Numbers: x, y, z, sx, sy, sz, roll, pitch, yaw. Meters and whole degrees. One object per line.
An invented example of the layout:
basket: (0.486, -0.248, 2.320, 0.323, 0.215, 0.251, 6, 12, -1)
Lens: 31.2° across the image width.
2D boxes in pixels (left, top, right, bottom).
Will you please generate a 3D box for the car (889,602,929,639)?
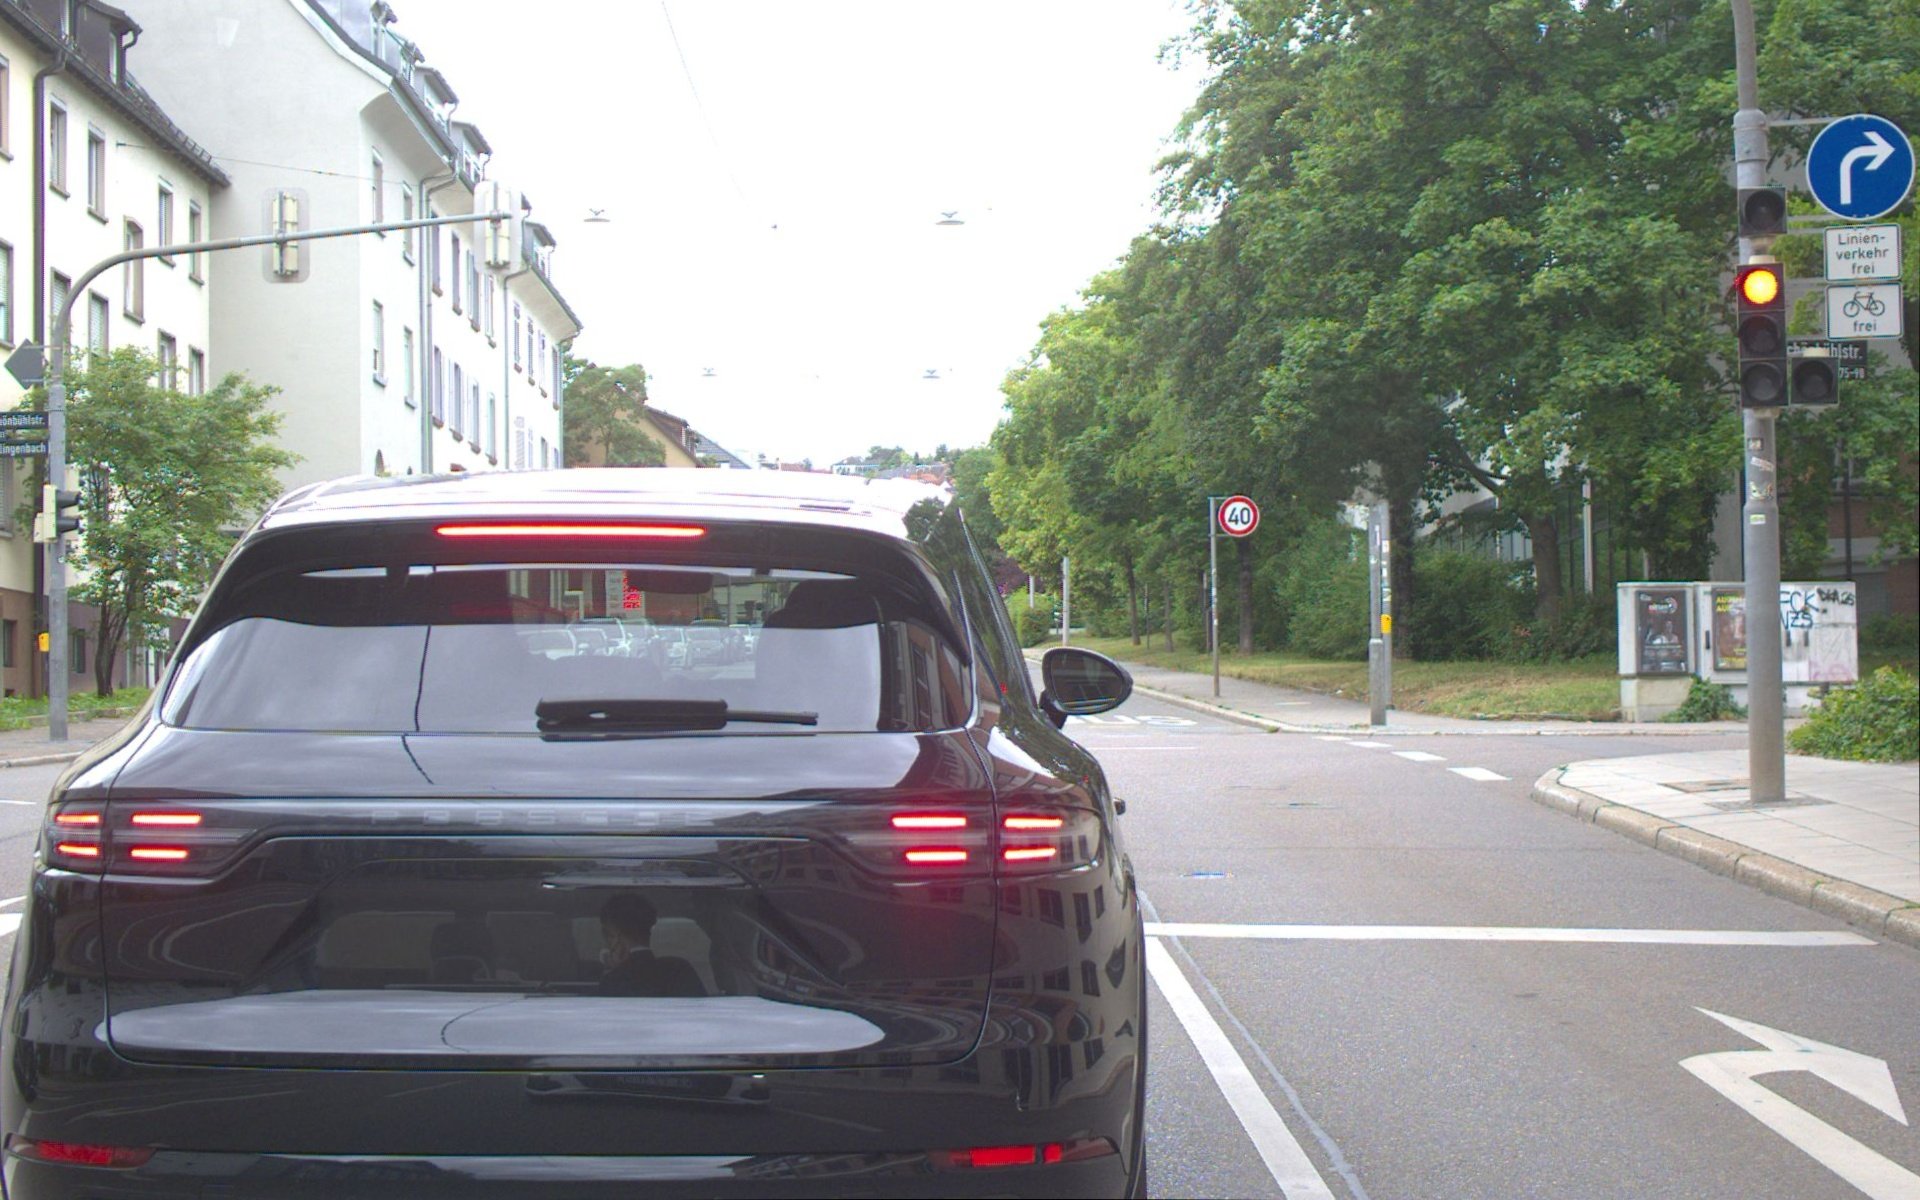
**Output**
car: (-2.397, 0.963, 163.314, 1.827, 1.599, 4.135, 1, 1, 0)

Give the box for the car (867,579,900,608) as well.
car: (-4.509, -0.386, 202.950, 1.827, 1.599, 4.135, 1, 1, 0)

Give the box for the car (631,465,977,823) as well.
car: (-0.912, 0.218, 21.903, 1.965, 2.035, 4.135, 1, 1, 0)

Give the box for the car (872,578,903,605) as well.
car: (-4.412, -0.539, 210.275, 1.827, 1.599, 4.135, 1, 1, 0)

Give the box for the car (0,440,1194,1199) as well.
car: (-0.701, 0.567, 7.255, 2.048, 1.660, 4.267, 1, 1, 0)

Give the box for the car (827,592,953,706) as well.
car: (-1.041, 0.718, 52.545, 1.827, 1.599, 3.859, 1, 1, 0)

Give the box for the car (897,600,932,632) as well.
car: (-2.408, 0.853, 182.490, 1.827, 1.599, 4.135, 1, 1, 0)

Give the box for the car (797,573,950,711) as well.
car: (-1.064, 0.494, 43.827, 1.827, 1.599, 4.135, 1, 1, 0)
